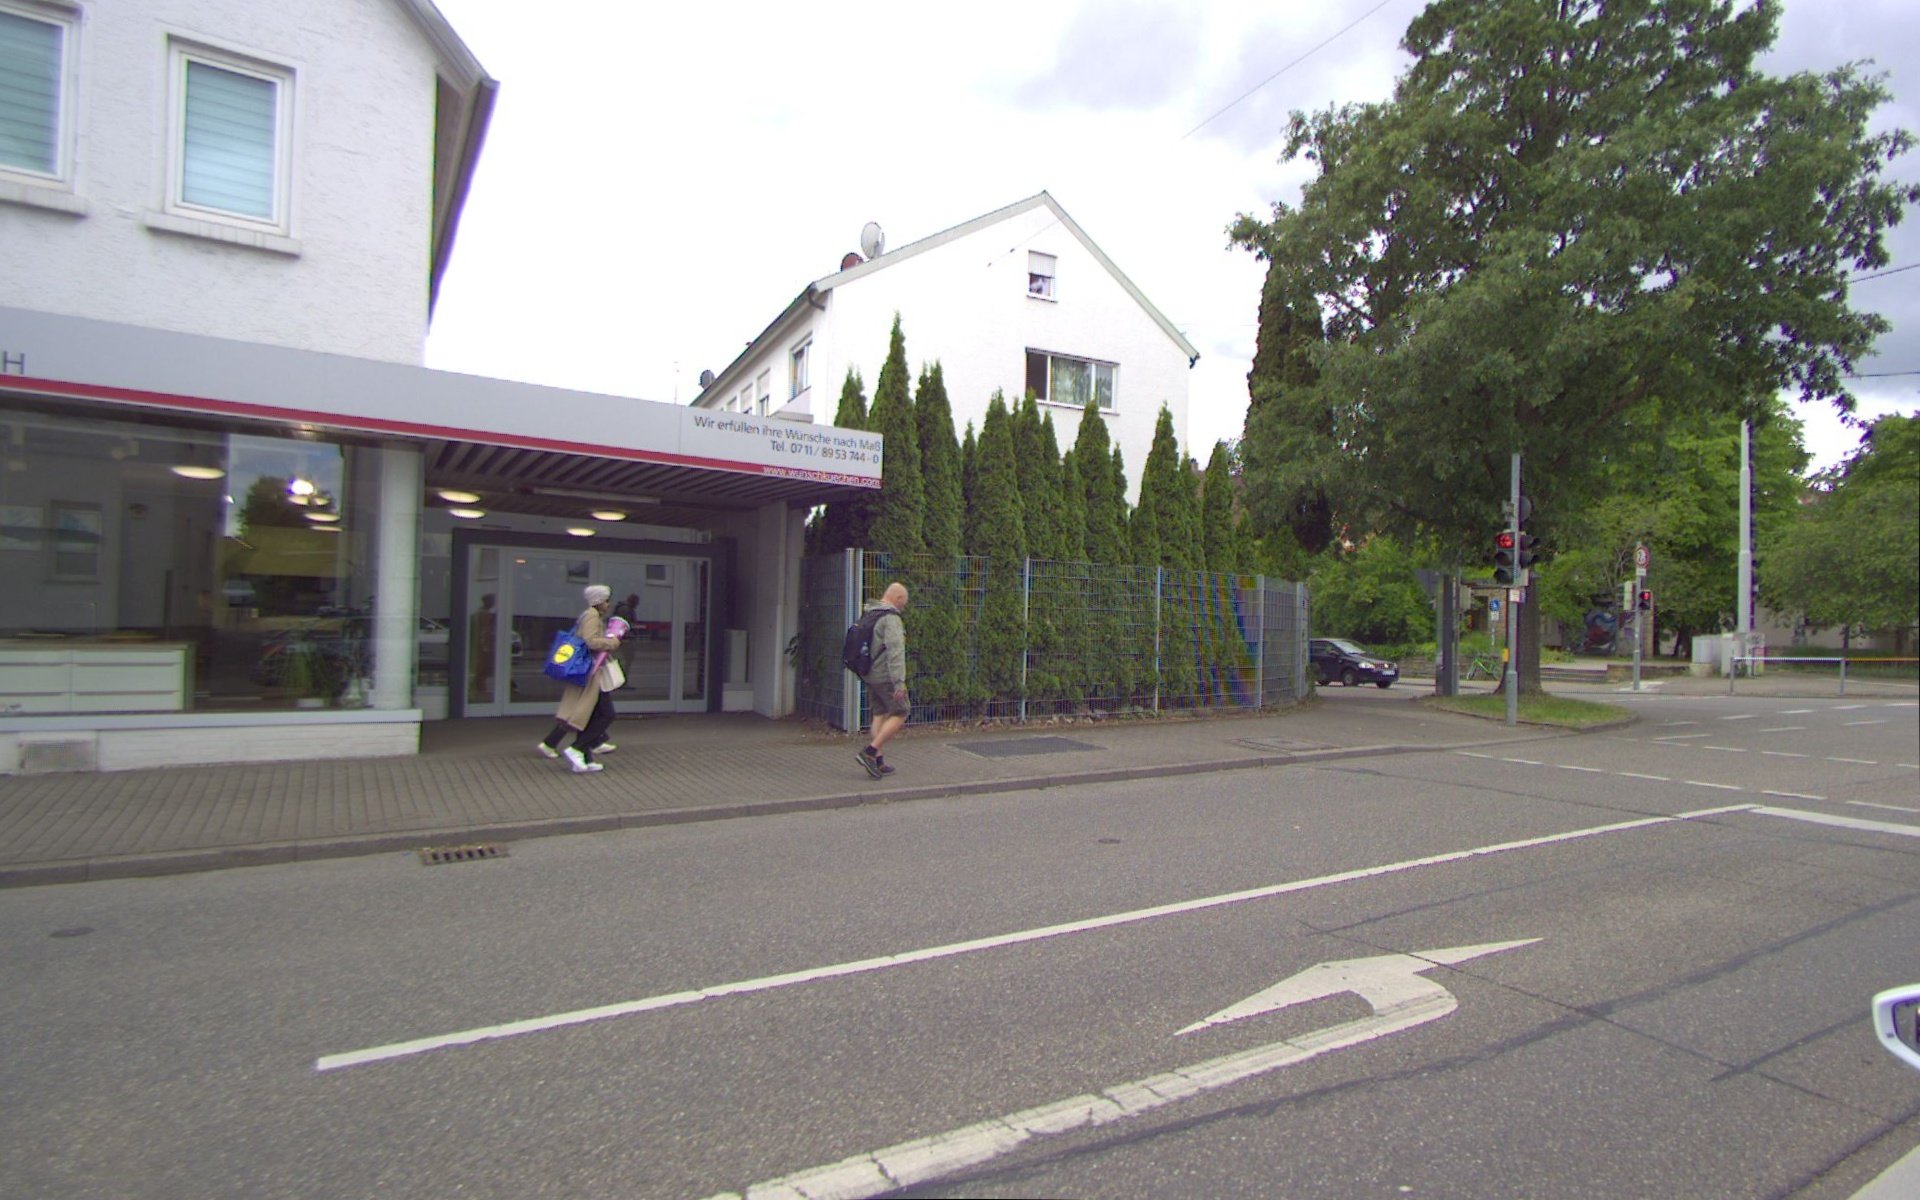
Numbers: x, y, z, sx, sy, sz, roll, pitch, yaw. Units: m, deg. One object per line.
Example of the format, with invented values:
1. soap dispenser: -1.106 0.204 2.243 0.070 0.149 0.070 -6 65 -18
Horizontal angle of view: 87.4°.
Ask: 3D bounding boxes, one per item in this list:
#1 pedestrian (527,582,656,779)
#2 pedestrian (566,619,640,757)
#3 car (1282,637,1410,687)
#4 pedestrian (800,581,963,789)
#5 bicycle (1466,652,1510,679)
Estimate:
1. pedestrian: -3.249 0.678 8.861 0.860 1.627 0.634 2 0 -41
2. pedestrian: -3.433 0.828 9.665 0.546 1.278 0.378 2 0 -41
3. car: 12.079 1.973 31.655 1.747 1.416 3.627 3 -5 -23
4. pedestrian: -0.726 0.735 9.238 1.215 1.777 0.817 2 0 -30
5. bicycle: 18.623 2.314 35.432 0.421 0.954 1.304 2 -4 -37
